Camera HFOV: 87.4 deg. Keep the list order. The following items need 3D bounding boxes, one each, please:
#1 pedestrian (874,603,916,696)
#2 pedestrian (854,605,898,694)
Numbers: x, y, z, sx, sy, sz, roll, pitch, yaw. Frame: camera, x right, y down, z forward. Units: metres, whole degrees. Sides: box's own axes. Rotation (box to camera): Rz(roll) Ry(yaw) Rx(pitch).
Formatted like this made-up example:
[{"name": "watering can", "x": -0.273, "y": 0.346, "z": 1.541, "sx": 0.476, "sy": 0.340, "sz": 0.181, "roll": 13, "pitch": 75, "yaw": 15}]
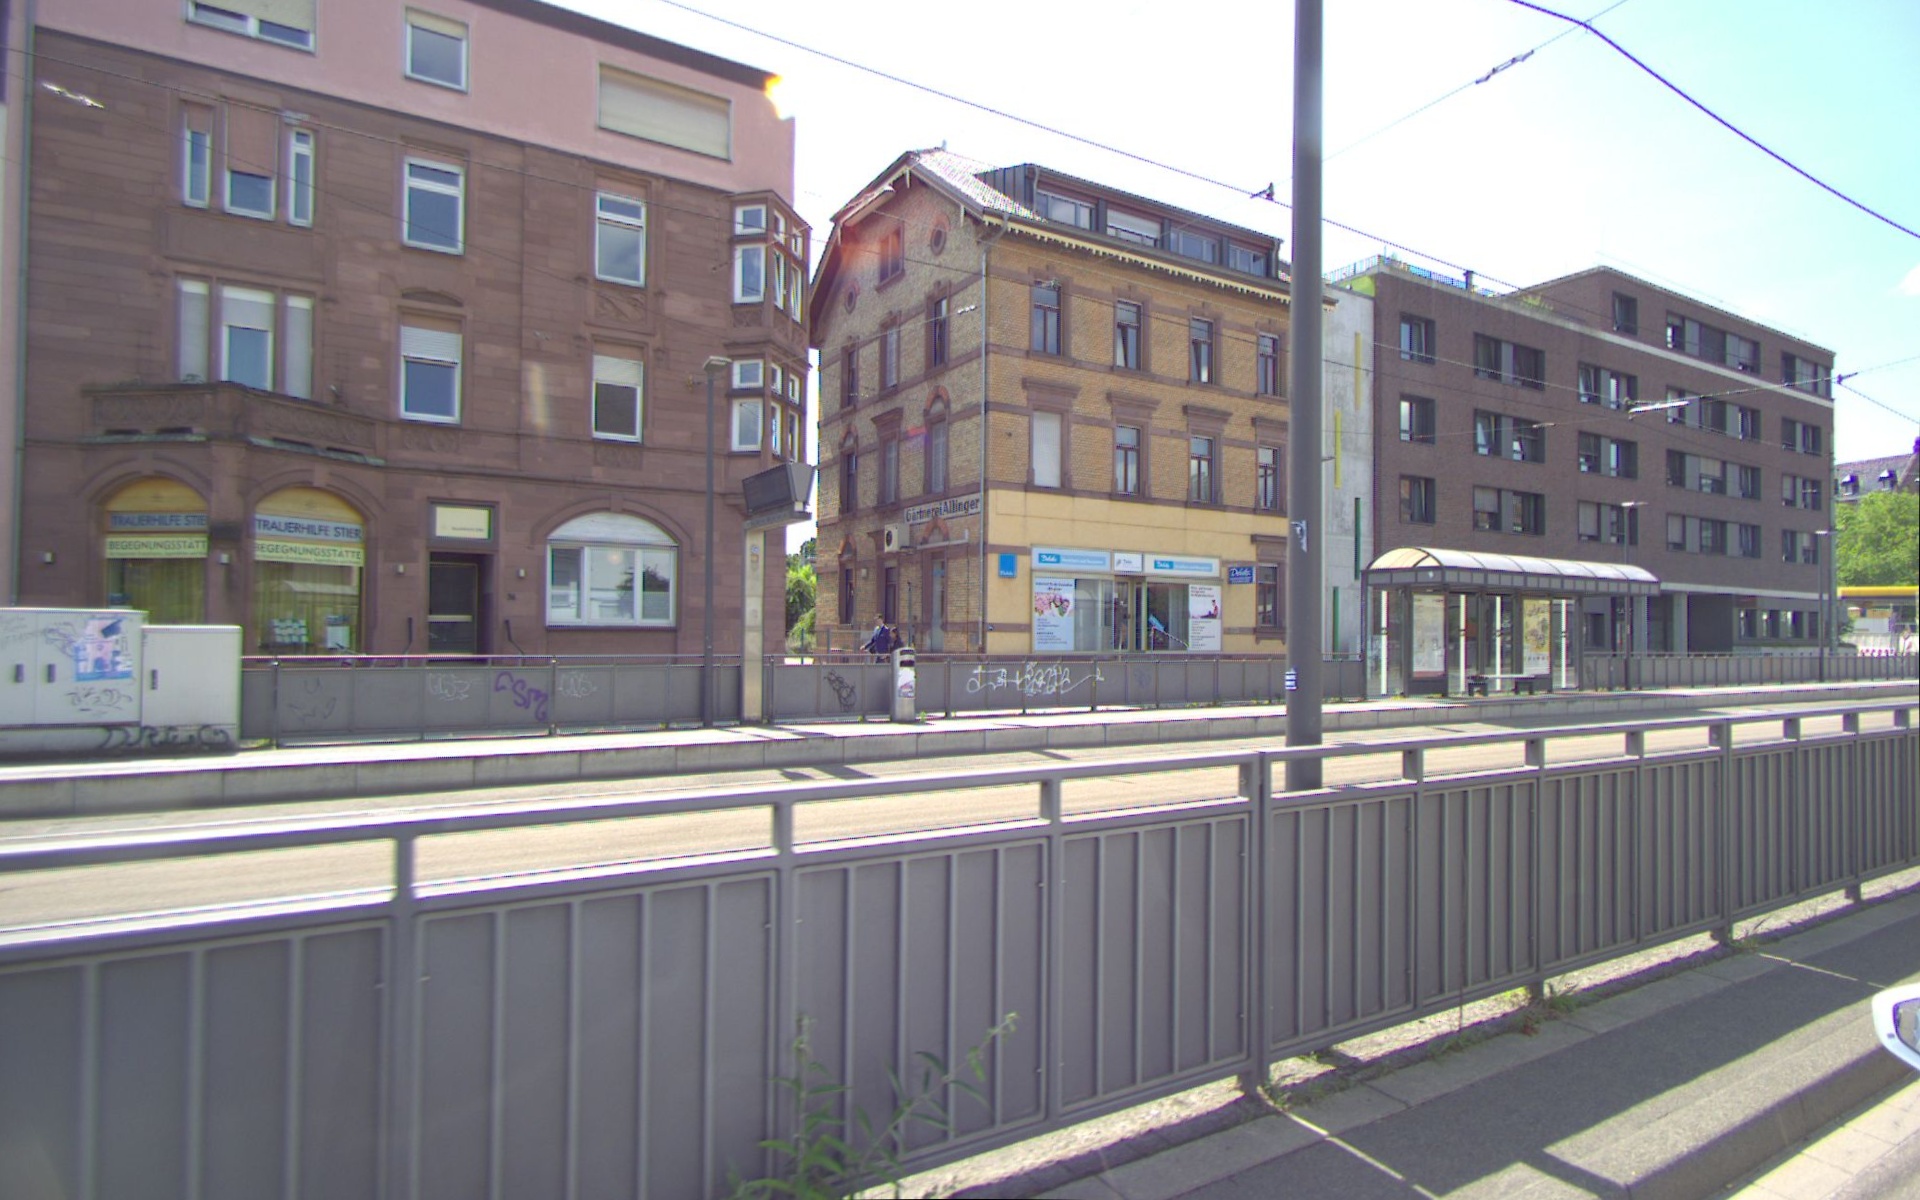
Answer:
[{"name": "pedestrian", "x": -1.474, "y": 1.114, "z": 22.678, "sx": 0.677, "sy": 2.040, "sz": 0.673, "roll": 2, "pitch": -2, "yaw": -33}, {"name": "pedestrian", "x": -1.964, "y": 1.160, "z": 23.541, "sx": 0.801, "sy": 2.040, "sz": 0.614, "roll": 2, "pitch": -2, "yaw": -33}]
